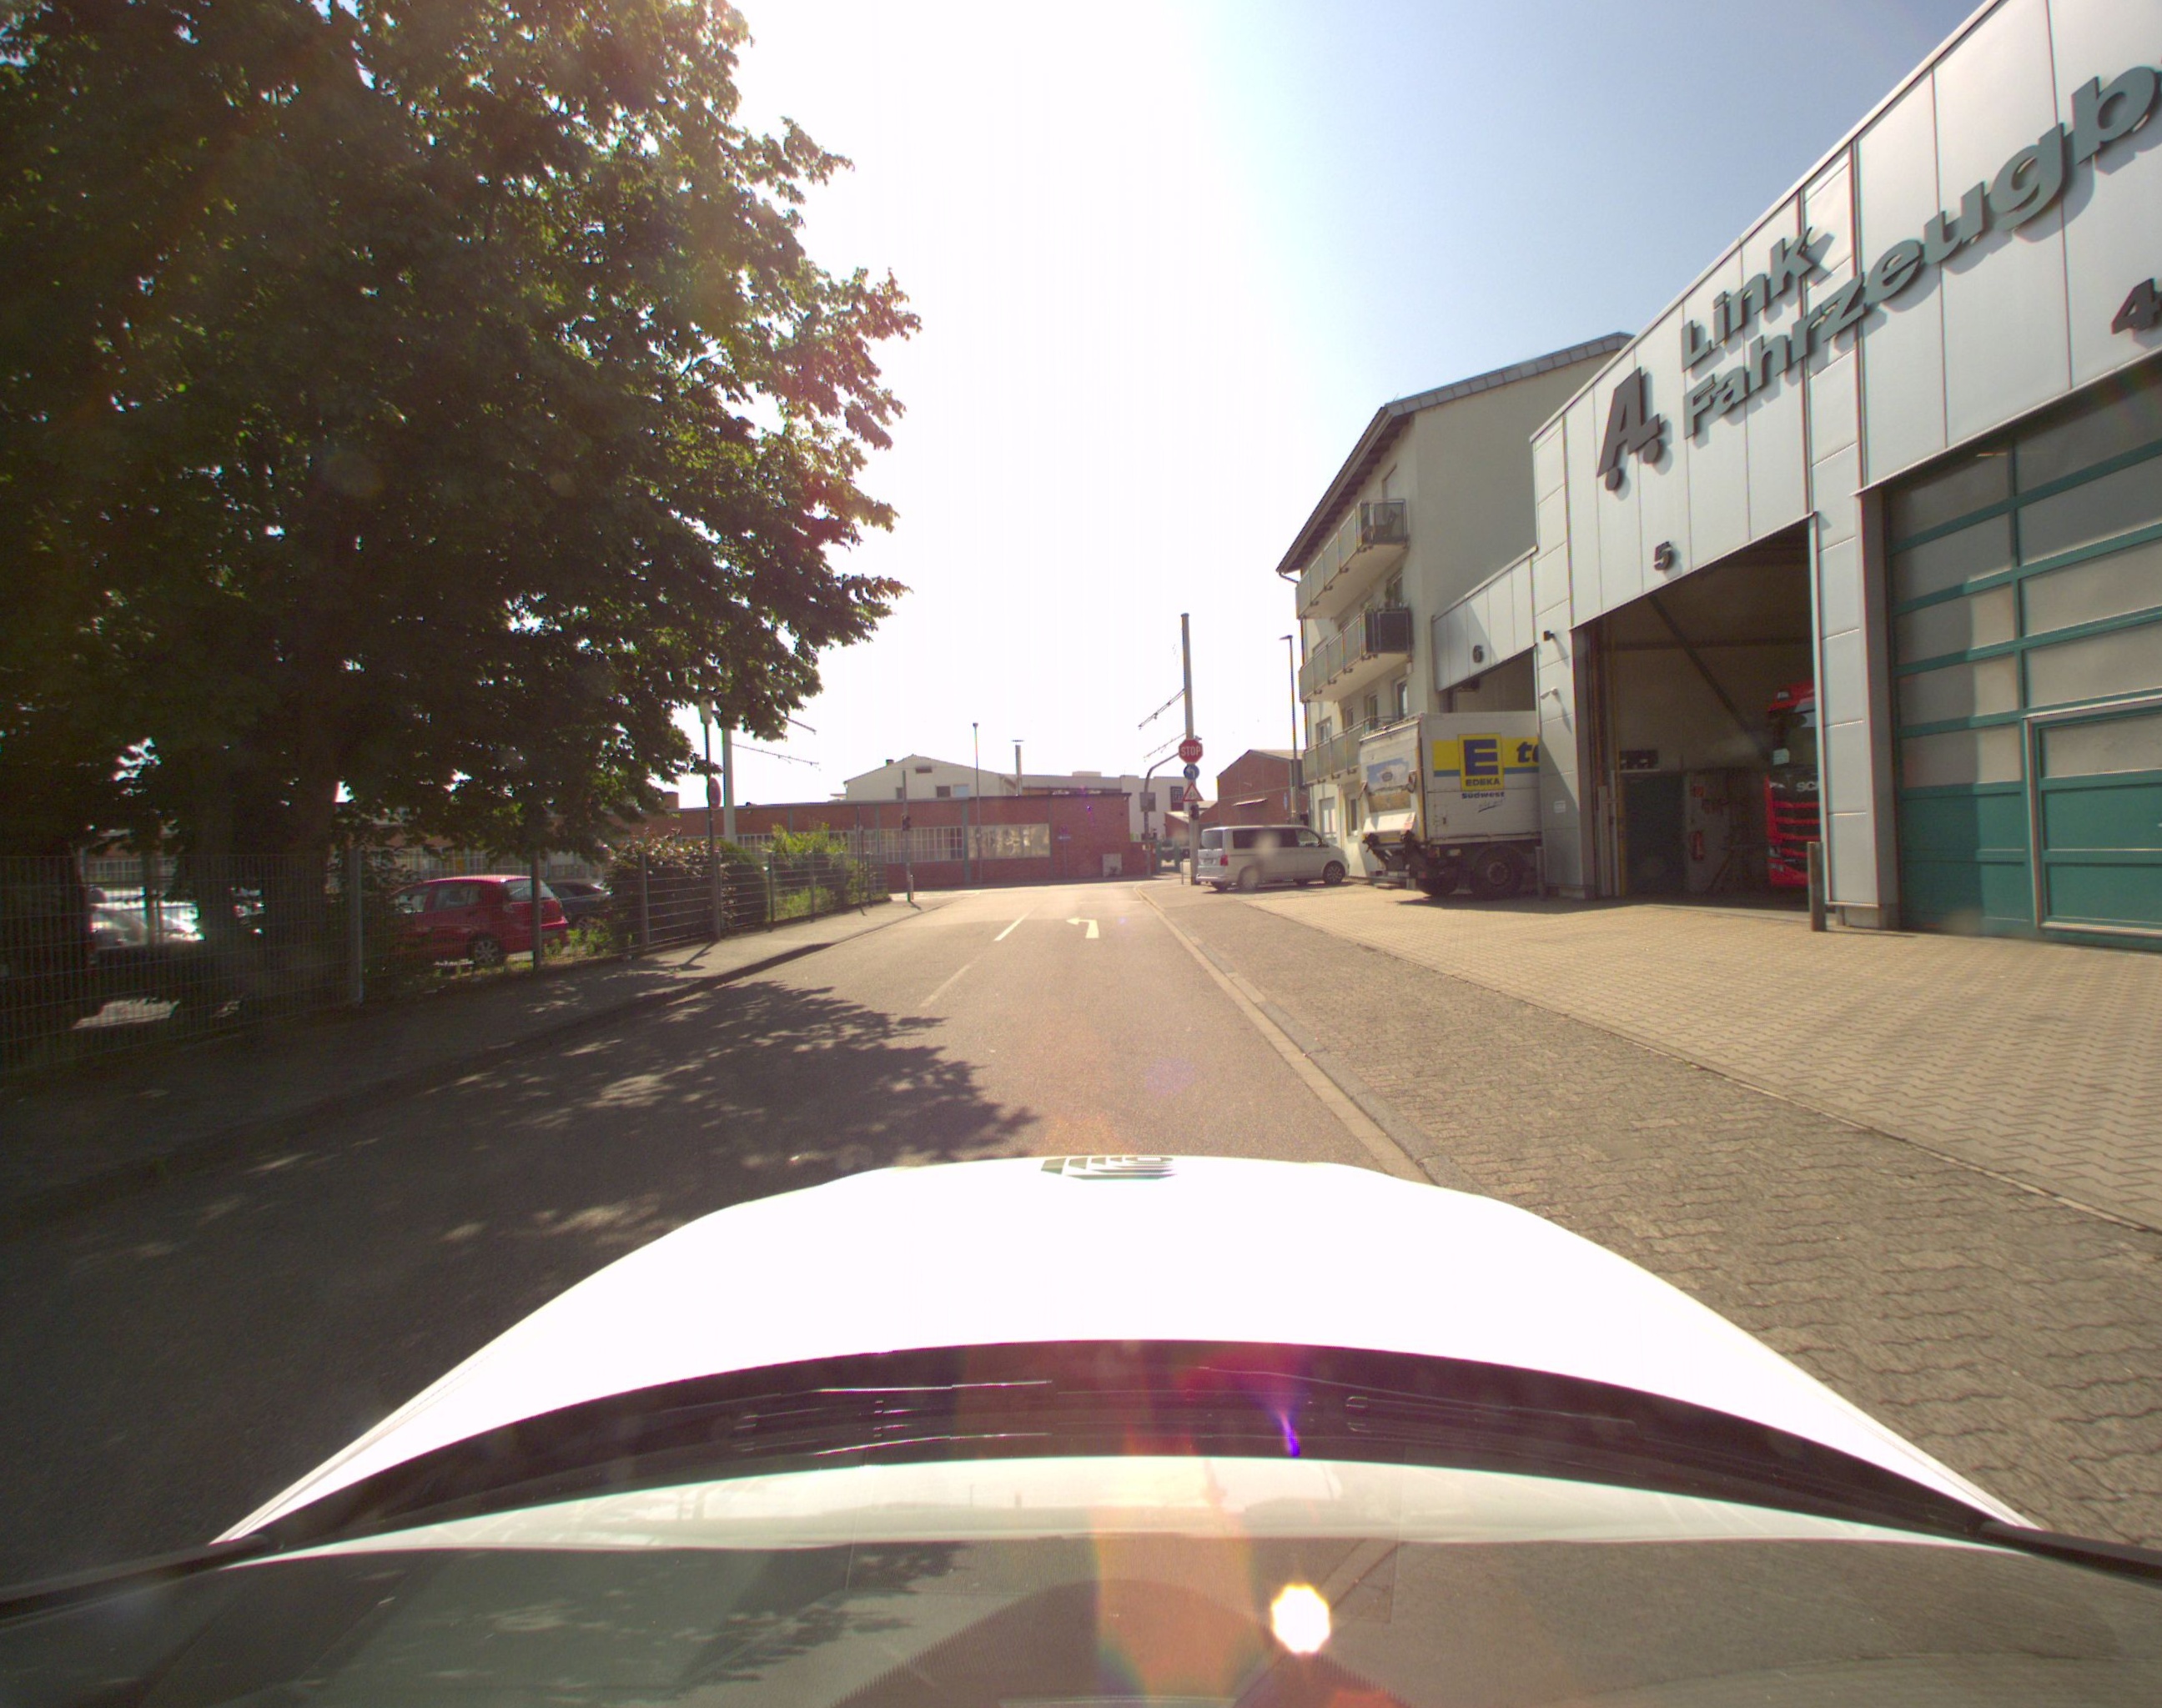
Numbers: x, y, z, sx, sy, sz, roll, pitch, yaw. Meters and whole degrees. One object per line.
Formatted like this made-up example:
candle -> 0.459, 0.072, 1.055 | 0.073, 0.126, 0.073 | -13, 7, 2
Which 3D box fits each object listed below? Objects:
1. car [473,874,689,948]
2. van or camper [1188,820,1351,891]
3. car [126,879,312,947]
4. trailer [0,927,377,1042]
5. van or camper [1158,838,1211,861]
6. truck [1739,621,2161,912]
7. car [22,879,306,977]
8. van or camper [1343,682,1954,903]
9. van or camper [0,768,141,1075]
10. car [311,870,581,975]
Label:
car -> -11.234, 1.257, 18.464 | 3.751, 1.366, 1.768 | -3, 0, 2
van or camper -> 5.848, 0.018, 25.362 | 4.556, 1.908, 1.987 | -3, 0, -20
car -> -27.109, 1.826, 25.696 | 3.966, 1.849, 2.004 | -3, -1, 6
trailer -> -10.490, 1.468, 9.418 | 3.269, 0.939, 1.613 | -3, 0, 2
van or camper -> 9.022, -0.382, 70.821 | 4.440, 1.900, 1.978 | 0, -1, -35
truck -> 14.102, -1.192, 11.177 | 7.920, 3.404, 2.480 | -3, 0, 1
car -> -15.663, 1.224, 14.026 | 3.058, 1.473, 1.654 | -2, -1, 2
van or camper -> 11.809, -1.290, 17.330 | 11.586, 3.692, 2.775 | -4, 0, -7
van or camper -> -11.402, 0.682, 6.952 | 4.636, 2.577, 1.847 | -3, -1, 2
car -> -10.699, 1.129, 13.863 | 3.365, 1.485, 1.519 | -3, 0, 2
